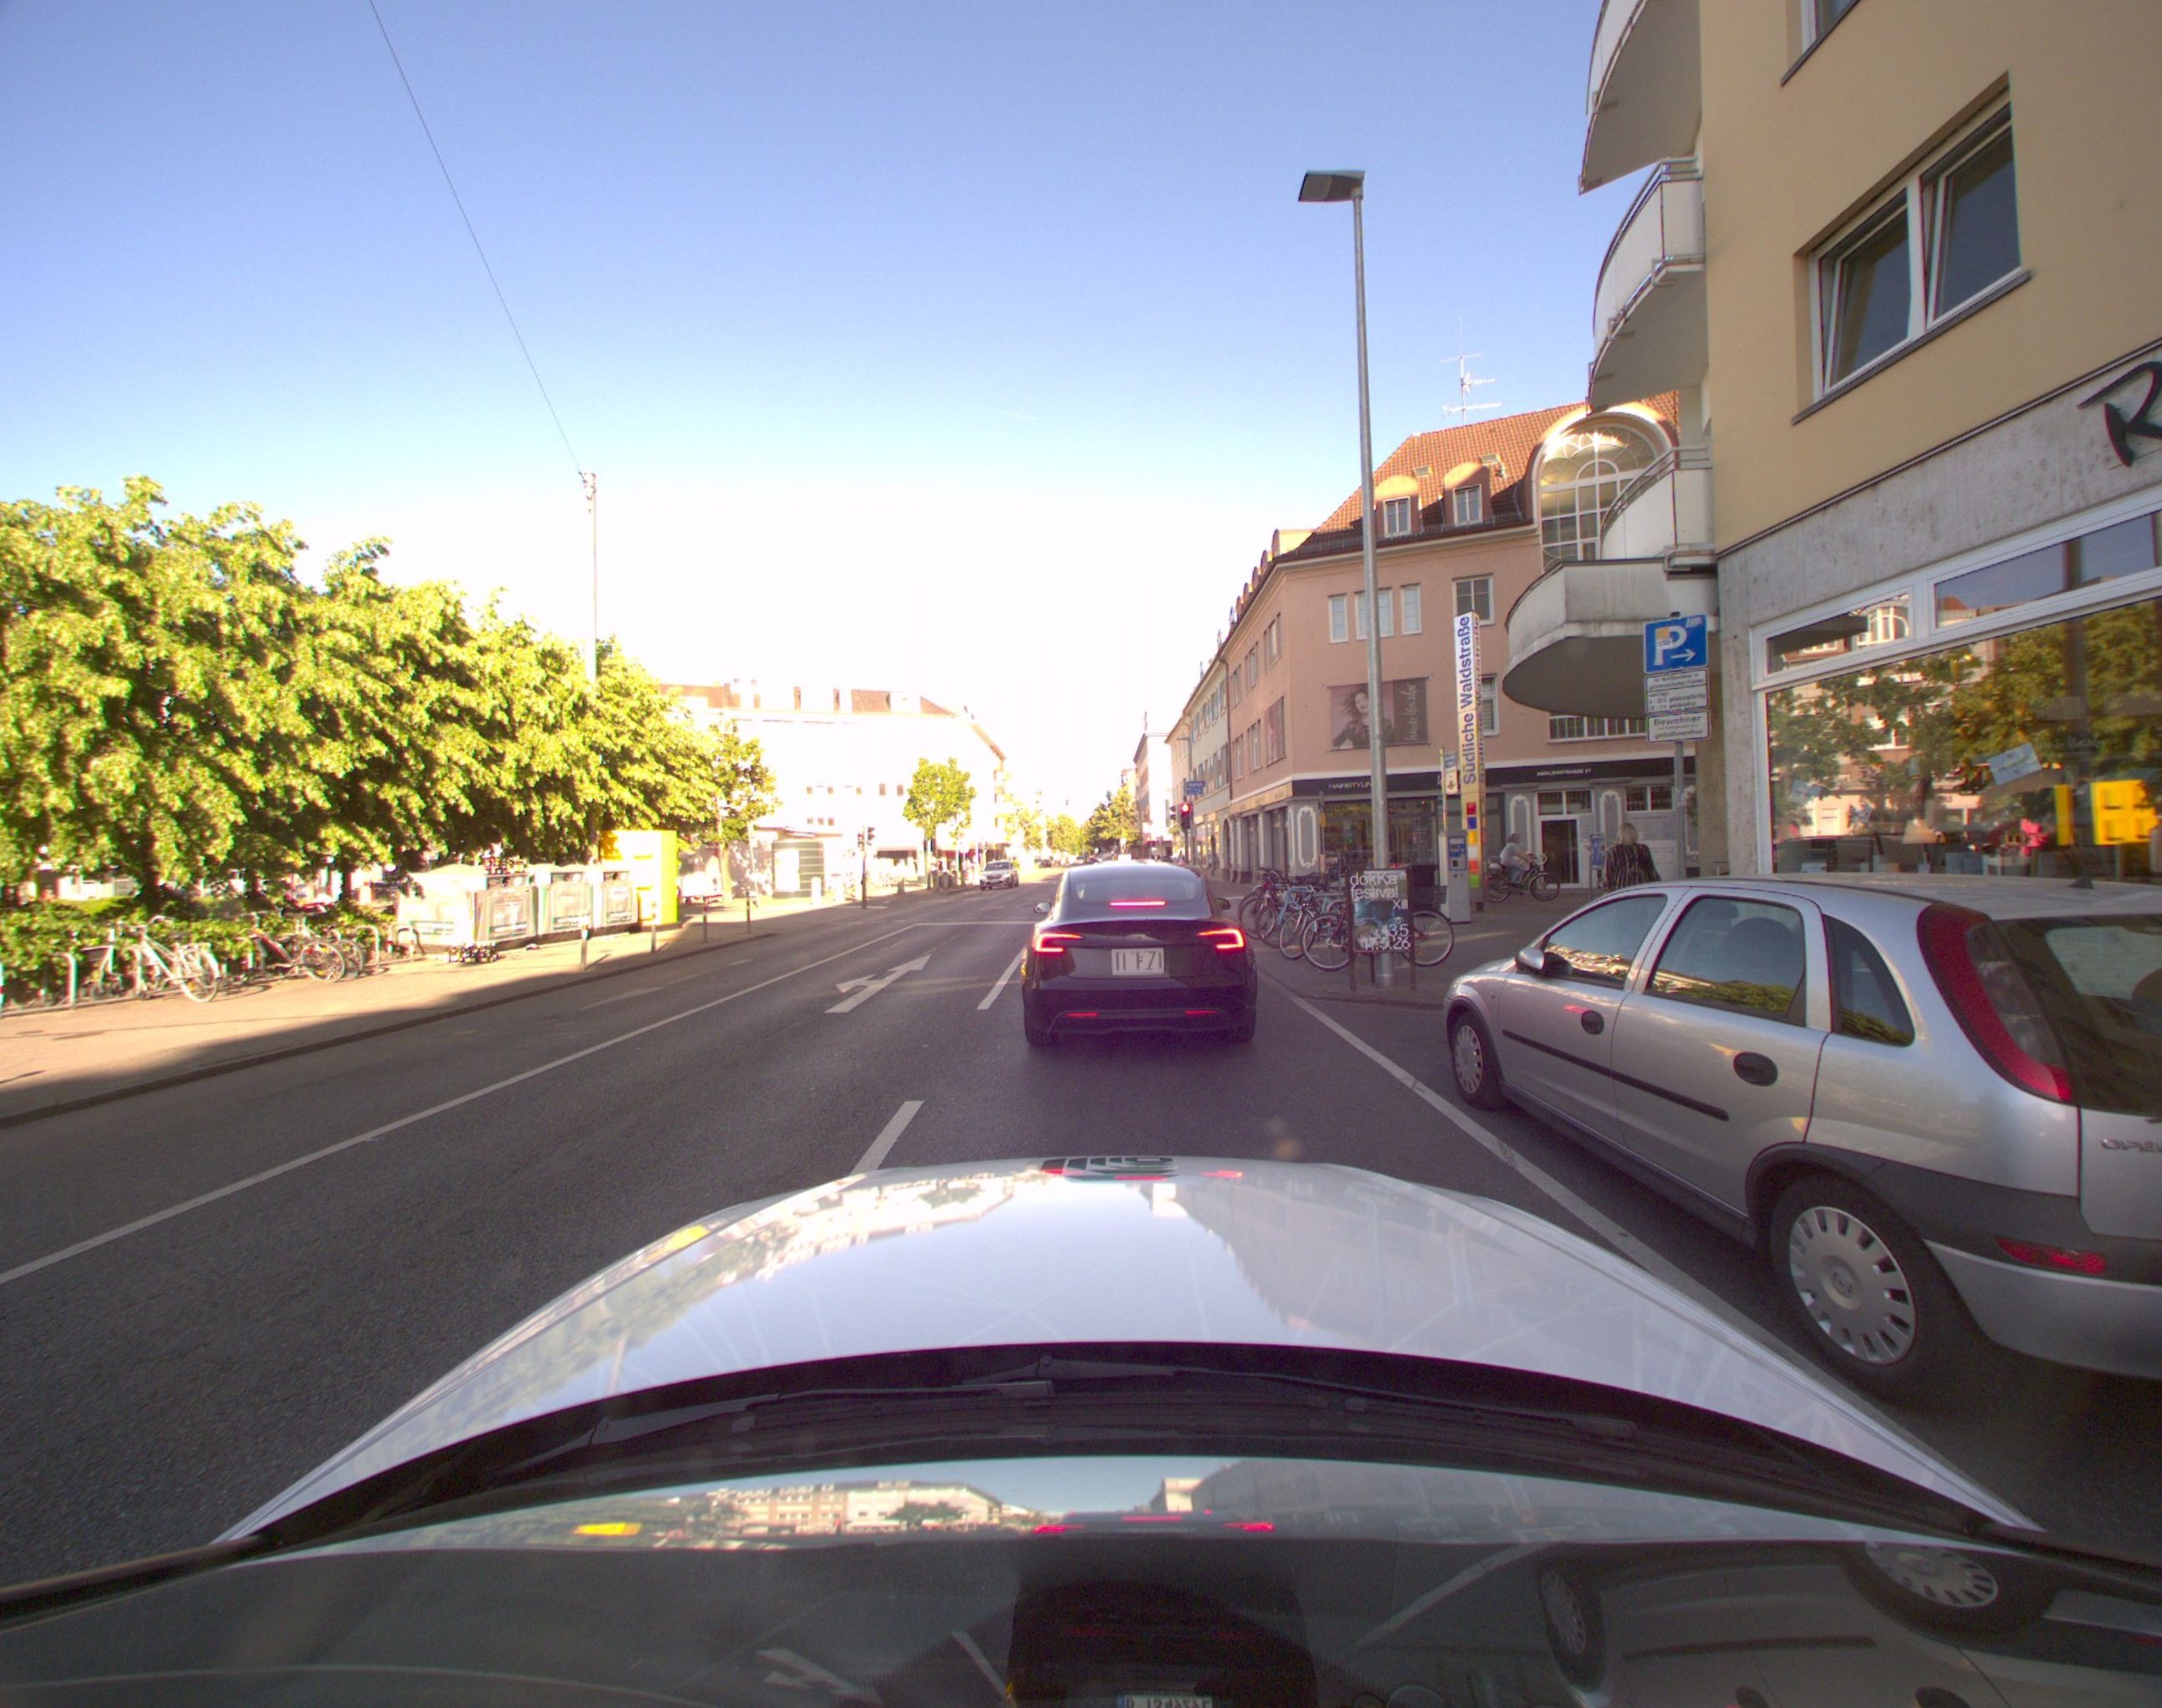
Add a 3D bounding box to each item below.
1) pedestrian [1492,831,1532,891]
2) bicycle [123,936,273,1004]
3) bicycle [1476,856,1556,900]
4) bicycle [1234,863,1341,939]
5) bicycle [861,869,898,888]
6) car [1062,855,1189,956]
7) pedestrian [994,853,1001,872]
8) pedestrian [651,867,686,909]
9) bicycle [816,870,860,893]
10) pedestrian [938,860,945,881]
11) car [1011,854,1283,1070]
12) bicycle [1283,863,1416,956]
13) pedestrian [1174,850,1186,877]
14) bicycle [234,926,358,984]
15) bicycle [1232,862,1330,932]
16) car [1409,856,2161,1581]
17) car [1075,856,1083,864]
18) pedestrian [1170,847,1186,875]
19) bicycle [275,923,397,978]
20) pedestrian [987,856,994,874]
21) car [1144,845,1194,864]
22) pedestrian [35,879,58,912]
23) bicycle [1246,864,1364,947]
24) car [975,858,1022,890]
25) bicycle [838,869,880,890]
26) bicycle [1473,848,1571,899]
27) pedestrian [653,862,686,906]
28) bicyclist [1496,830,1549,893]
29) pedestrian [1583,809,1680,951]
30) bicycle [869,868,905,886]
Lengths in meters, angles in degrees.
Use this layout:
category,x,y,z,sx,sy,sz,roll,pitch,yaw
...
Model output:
category,x,y,z,sx,sy,sz,roll,pitch,yaw
pedestrian,10.562,0.176,19.965,0.738,1.440,0.584,-1,-1,14
bicycle,-11.176,1.455,10.317,1.645,0.769,0.476,-1,-1,10
bicycle,10.635,0.585,19.951,1.604,1.045,0.593,-1,-1,14
bicycle,3.442,0.779,13.605,1.622,1.160,0.433,-3,0,0
bicycle,-12.483,1.487,50.422,2.075,1.104,0.806,-1,0,1
car,0.744,0.767,13.932,1.842,1.455,3.788,-1,0,3
pedestrian,-9.100,0.919,88.628,0.623,2.014,0.575,-1,0,1
pedestrian,-16.671,1.378,32.905,0.981,1.636,0.738,-1,0,5
bicycle,-12.853,1.455,43.131,2.075,1.104,0.806,-1,0,1
pedestrian,-10.755,1.240,62.832,0.385,1.591,0.705,-1,0,-3
car,0.538,0.751,7.516,1.842,1.455,3.788,-1,0,3
bicycle,3.673,0.751,11.186,1.622,1.160,0.433,-3,0,0
pedestrian,6.707,0.628,55.172,0.701,1.783,0.534,-1,0,1
bicycle,-11.326,1.453,11.765,1.465,0.769,0.442,-1,-1,6
bicycle,3.618,0.768,14.799,1.621,1.160,0.433,-3,0,2
car,2.950,0.725,3.533,1.615,1.394,3.888,-1,0,3
car,-0.406,1.312,181.943,1.824,1.724,4.000,-1,0,0
pedestrian,6.550,0.462,55.192,0.995,1.850,0.615,-1,0,1
bicycle,-11.254,1.459,12.324,1.466,0.769,0.475,-1,-1,4
pedestrian,-9.874,1.179,88.750,0.623,2.014,0.707,-1,0,1
car,8.753,0.047,80.915,4.600,1.727,2.067,-1,0,19
pedestrian,-55.976,2.240,44.060,0.576,1.792,0.604,-1,-1,19
bicycle,3.411,0.775,12.445,1.622,1.160,0.433,-3,0,0
car,-4.586,1.094,45.969,1.986,1.541,4.002,-5,0,2
bicycle,-12.436,1.445,45.643,2.075,1.104,0.806,-1,0,1
bicycle,11.426,0.508,21.175,2.108,1.200,0.631,-4,-1,17
pedestrian,-16.569,1.186,32.774,0.897,1.725,0.745,-1,0,5
bicyclist,11.445,0.205,21.154,1.088,1.589,0.631,-1,0,18
pedestrian,6.649,0.311,9.873,0.659,1.633,0.629,-4,-1,6
bicycle,-12.526,1.458,52.619,2.075,1.104,0.806,-1,0,1
